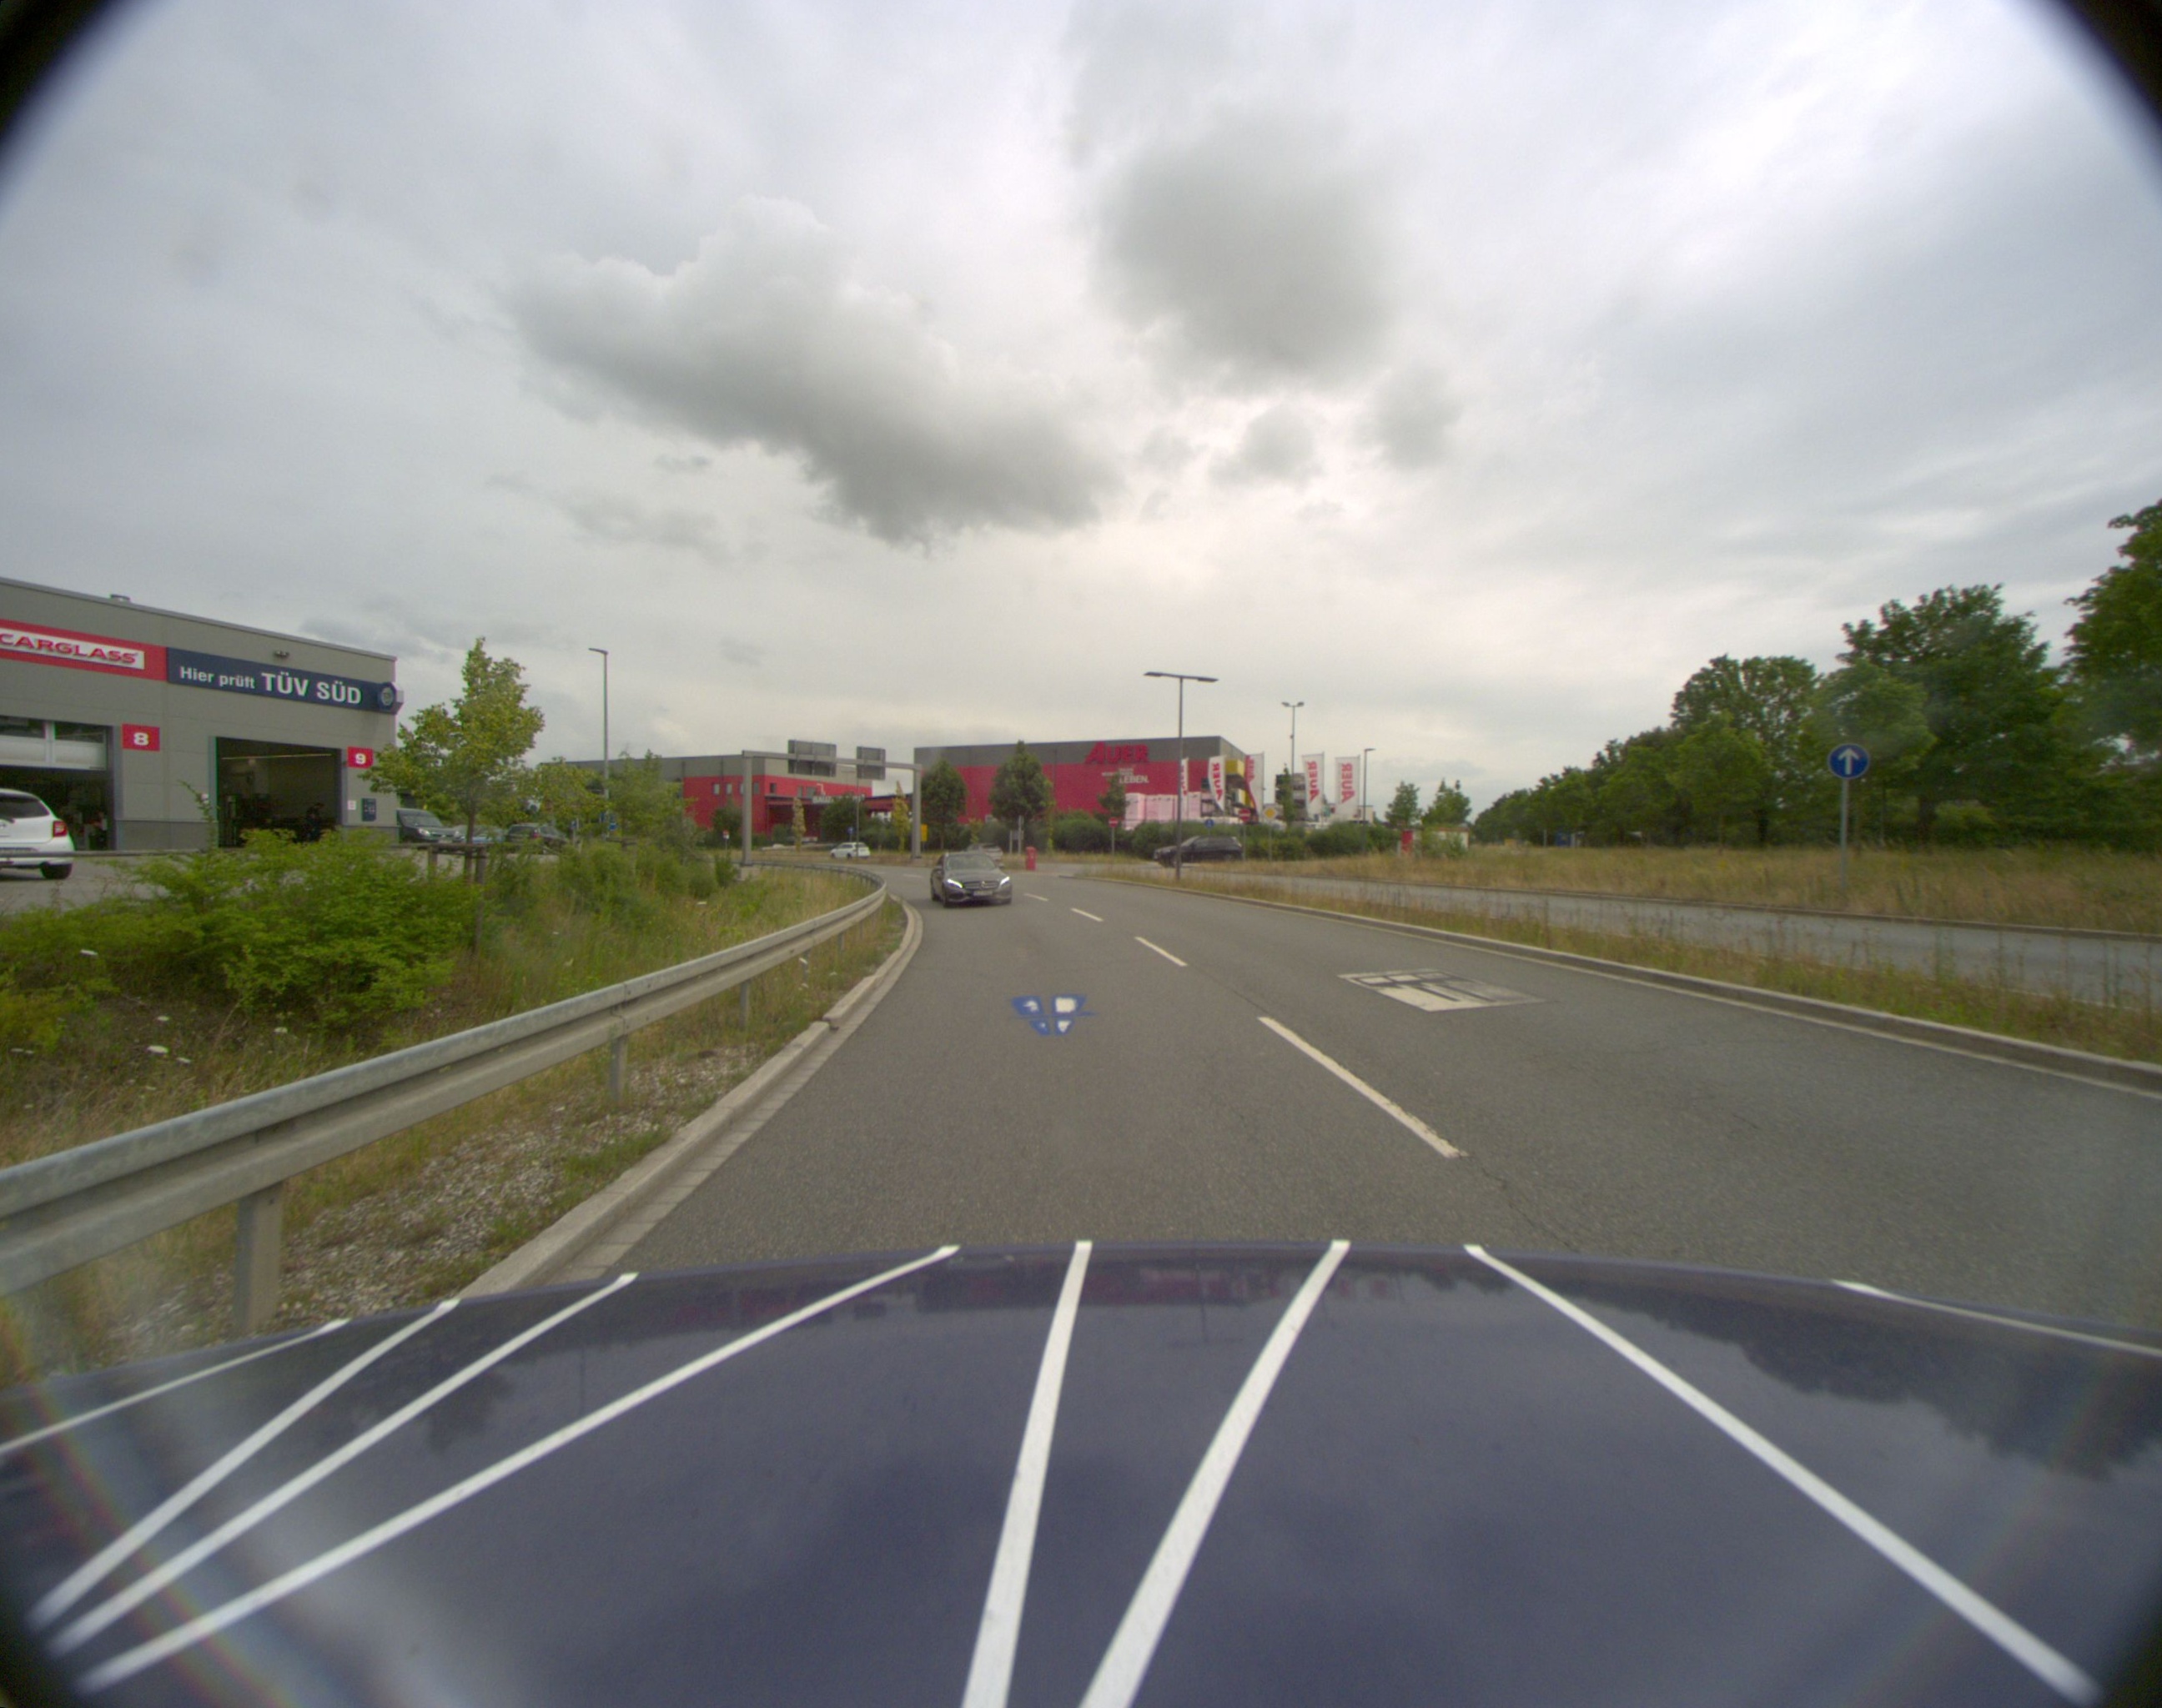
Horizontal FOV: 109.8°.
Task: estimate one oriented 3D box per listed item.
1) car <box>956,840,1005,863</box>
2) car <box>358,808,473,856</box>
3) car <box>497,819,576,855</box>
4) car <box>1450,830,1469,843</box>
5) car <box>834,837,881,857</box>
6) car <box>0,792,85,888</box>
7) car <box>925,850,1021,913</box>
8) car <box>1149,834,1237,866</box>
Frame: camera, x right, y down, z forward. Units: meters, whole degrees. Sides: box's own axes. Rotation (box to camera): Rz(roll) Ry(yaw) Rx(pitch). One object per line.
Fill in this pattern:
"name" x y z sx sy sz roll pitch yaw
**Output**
"car" -6.828 -0.171 51.561 1.466 1.477 4.084 -1 1 -37
"car" -26.869 -0.890 30.679 3.961 1.800 1.708 1 -1 19
"car" -30.092 -0.998 42.145 1.805 1.773 4.163 -2 4 -10
"car" 56.704 -2.626 113.885 1.995 1.739 4.006 2 0 19
"car" -18.885 -0.565 64.056 4.254 1.625 1.724 0 3 41
"car" -18.893 -0.302 12.738 3.619 1.529 1.646 3 2 20
"car" -3.175 0.693 21.568 1.909 1.489 4.331 -3 2 -18
"car" 5.946 -0.241 40.429 4.256 1.541 1.871 -1 2 -11
